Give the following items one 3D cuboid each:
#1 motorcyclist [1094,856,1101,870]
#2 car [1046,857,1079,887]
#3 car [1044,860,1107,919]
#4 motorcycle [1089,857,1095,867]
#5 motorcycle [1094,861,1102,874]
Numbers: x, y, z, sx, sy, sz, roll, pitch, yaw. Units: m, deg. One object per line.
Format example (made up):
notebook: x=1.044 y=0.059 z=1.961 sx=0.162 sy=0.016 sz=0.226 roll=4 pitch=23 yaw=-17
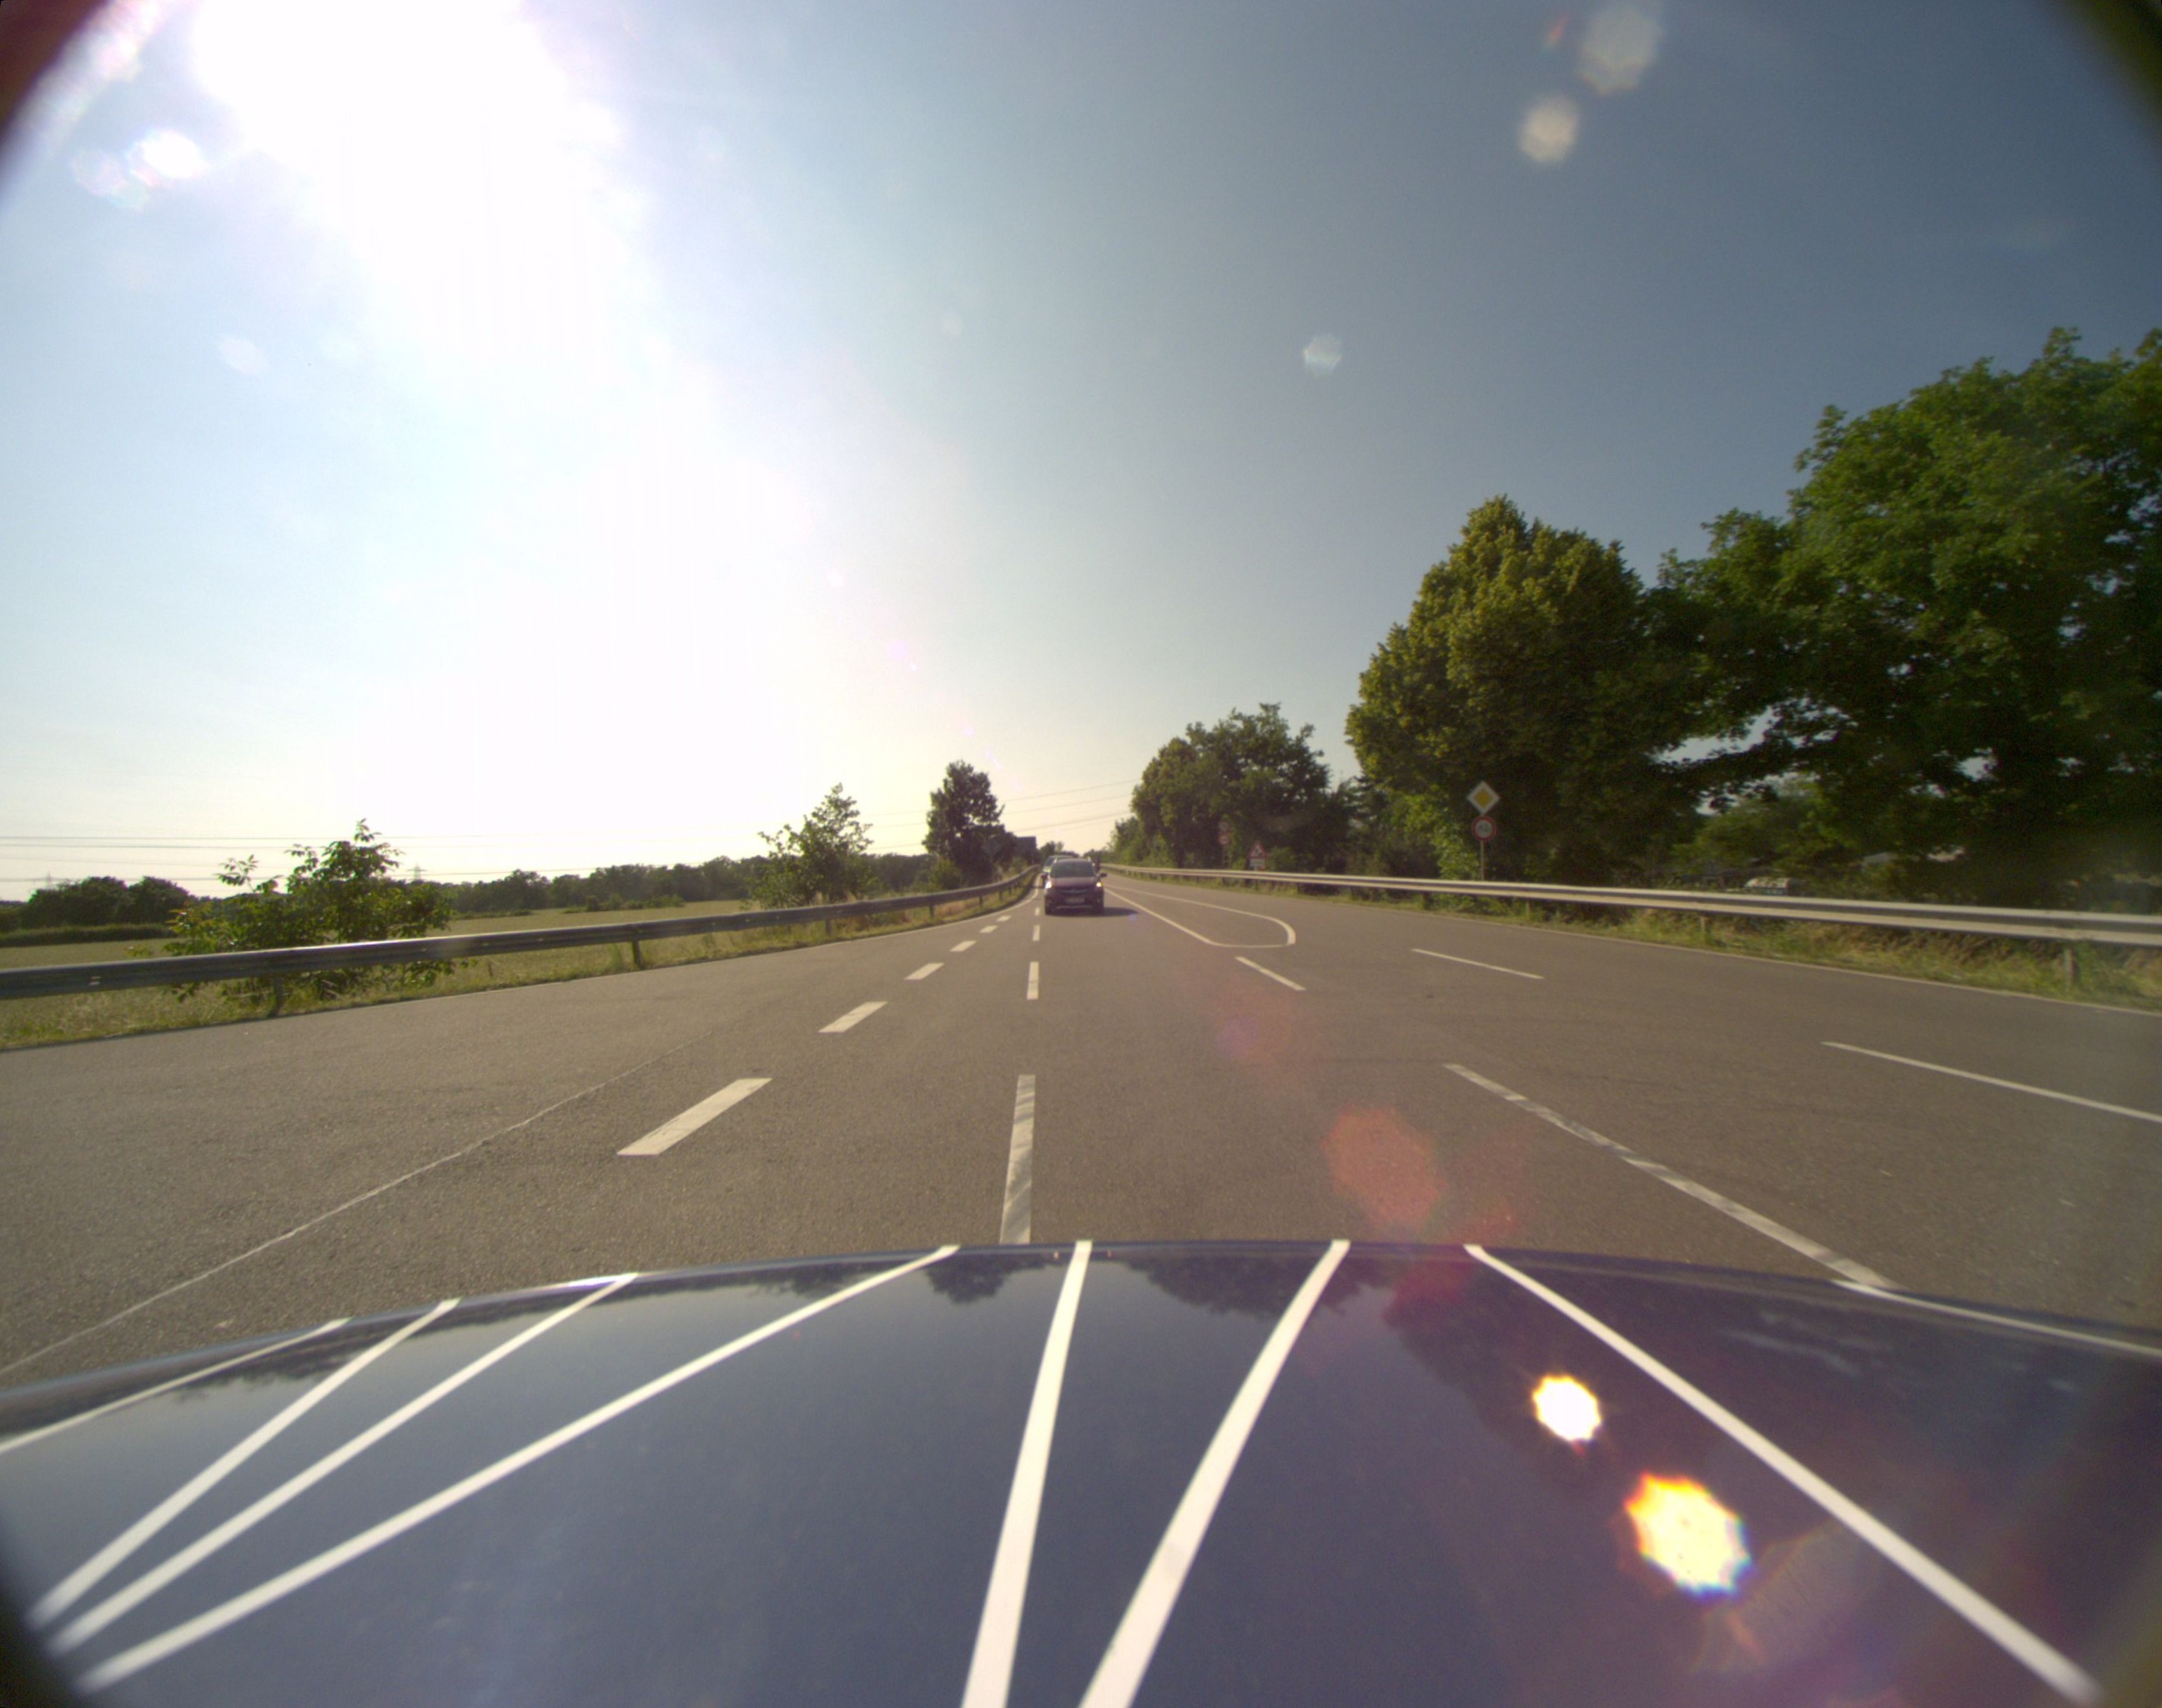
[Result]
motorcyclist: x=1.695 y=0.937 z=77.582 sx=0.701 sy=1.399 sz=0.979 roll=0 pitch=0 yaw=-4
car: x=-0.973 y=0.929 z=40.317 sx=1.607 sy=1.486 sz=3.999 roll=-1 pitch=0 yaw=-1
car: x=-0.097 y=0.932 z=21.882 sx=1.606 sy=1.486 sz=4.000 roll=-1 pitch=0 yaw=1
motorcycle: x=1.354 y=1.033 z=94.078 sx=0.719 sy=1.243 sz=2.078 roll=0 pitch=0 yaw=2
motorcycle: x=1.756 y=1.338 z=77.678 sx=0.719 sy=1.301 sz=2.181 roll=0 pitch=0 yaw=-3
